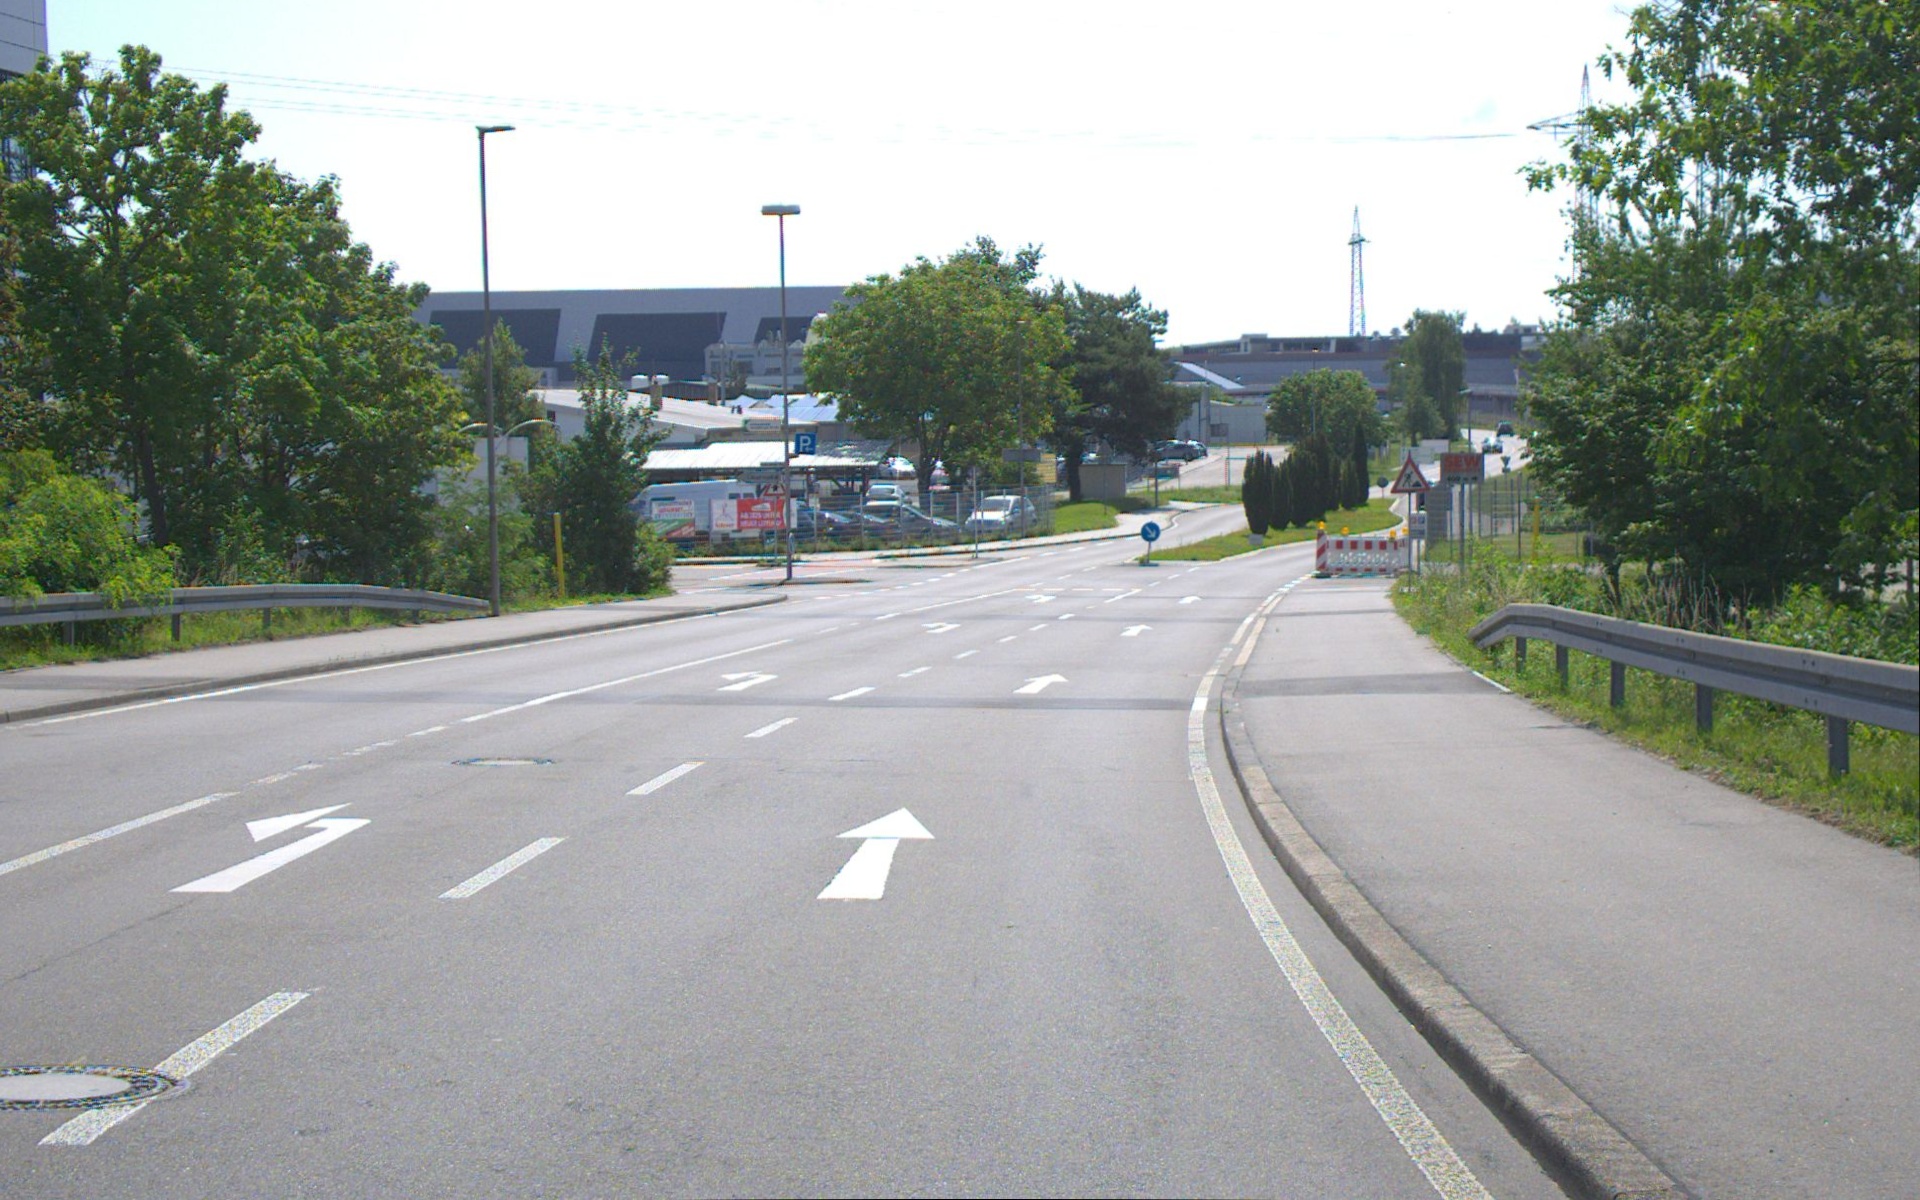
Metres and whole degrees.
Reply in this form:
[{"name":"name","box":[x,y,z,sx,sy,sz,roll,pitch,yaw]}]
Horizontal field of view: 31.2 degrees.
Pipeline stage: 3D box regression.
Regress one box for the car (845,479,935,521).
[{"name":"car","box":[-3.166,-4.494,154.837,3.986,1.843,1.835,-1,2,-4]}]

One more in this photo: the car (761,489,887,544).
[{"name":"car","box":[-4.775,-2.937,120.564,3.995,1.774,1.996,2,5,34]}]

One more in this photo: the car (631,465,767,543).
[{"name":"car","box":[-8.881,-3.274,116.912,4.360,2.599,1.996,1,2,35]}]

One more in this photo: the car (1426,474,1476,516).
[{"name":"car","box":[24.190,-5.180,169.328,2.272,1.940,4.664,3,3,8]}]

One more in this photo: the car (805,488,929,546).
[{"name":"car","box":[-3.312,-2.984,122.472,3.995,1.897,1.996,2,5,34]}]
